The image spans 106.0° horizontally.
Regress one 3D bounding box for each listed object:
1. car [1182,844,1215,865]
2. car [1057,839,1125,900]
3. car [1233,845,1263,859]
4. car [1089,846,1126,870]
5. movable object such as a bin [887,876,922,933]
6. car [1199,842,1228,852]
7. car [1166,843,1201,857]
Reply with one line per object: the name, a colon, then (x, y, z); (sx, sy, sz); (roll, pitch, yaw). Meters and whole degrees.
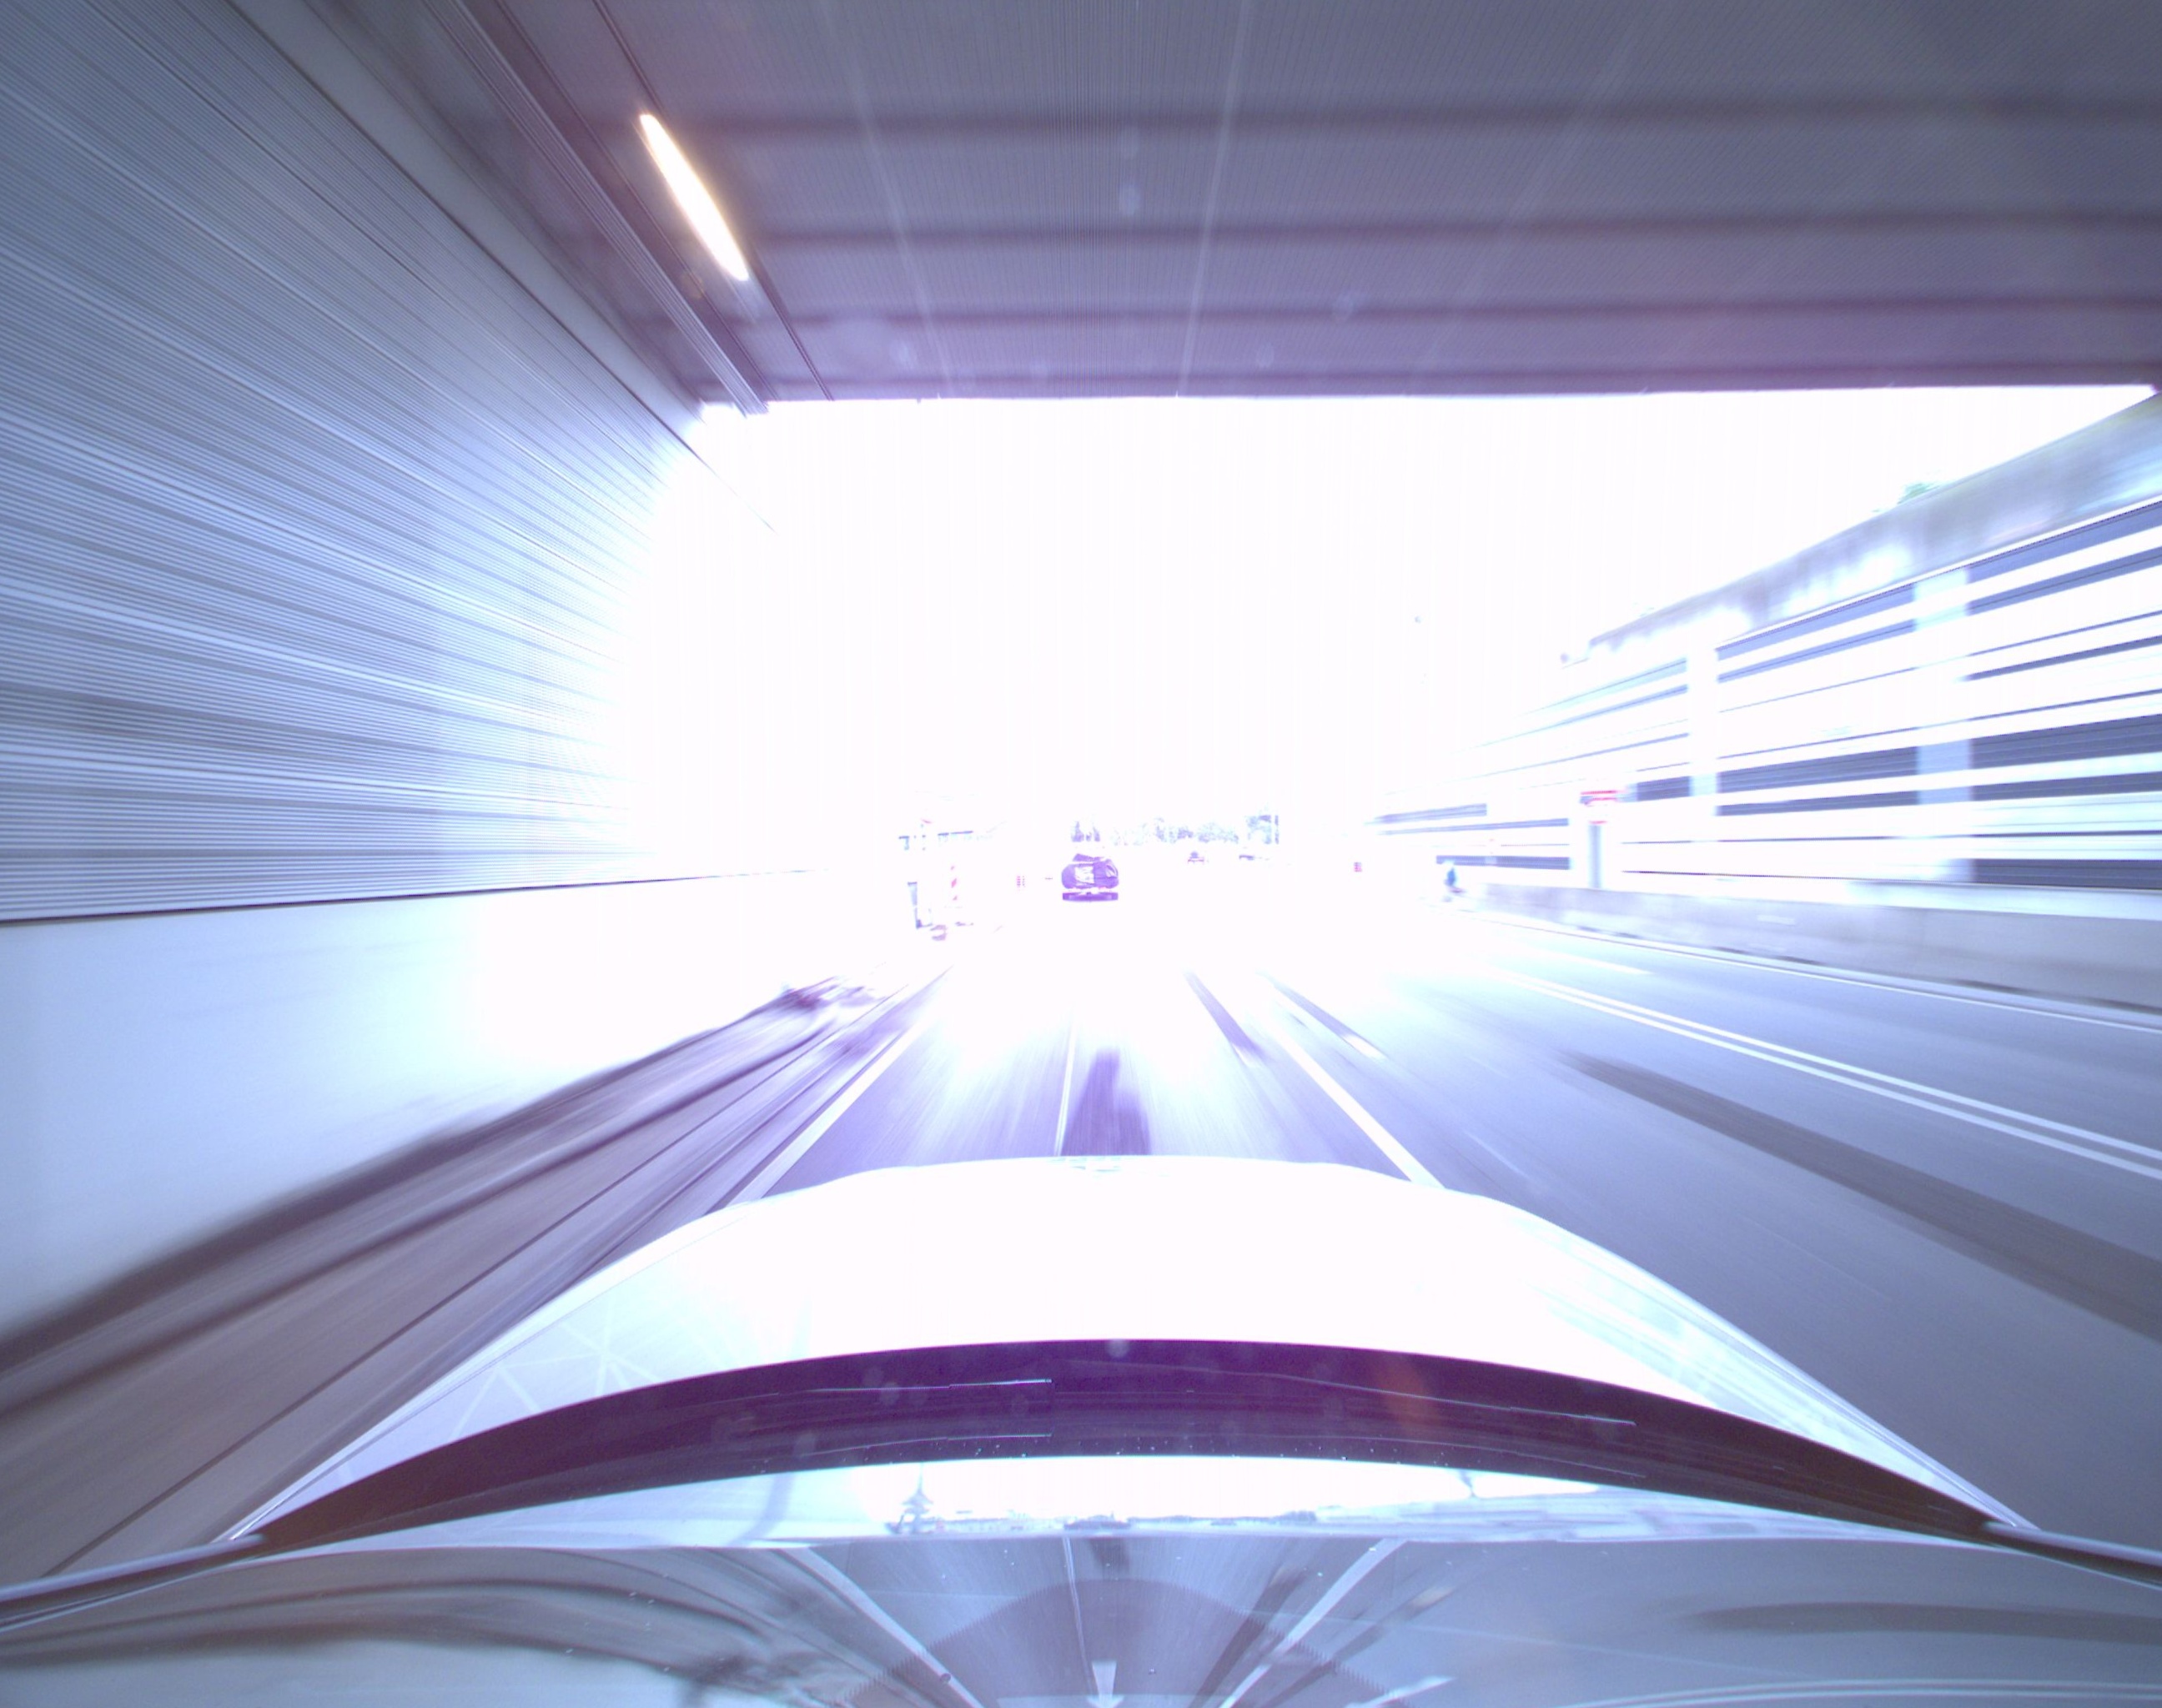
car: (10.679, 0.073, 73.798); (1.976, 1.860, 4.022); (-1, 0, 23)
car: (0.222, 0.483, 27.518); (1.988, 1.859, 5.635); (0, 0, -2)
car: (18.337, -0.204, 89.365); (1.993, 1.488, 4.091); (0, 1, 30)
car: (1.827, 0.268, 55.239); (1.908, 1.488, 4.078); (-1, 1, 11)
movable object such as a bin: (-3.264, 0.927, 15.067); (0.551, 1.008, 0.546); (0, 0, -3)
car: (19.167, -1.059, 117.744); (4.164, 1.434, 1.746); (-1, 0, -38)
car: (13.437, -0.527, 106.574); (1.931, 1.750, 5.308); (-1, 0, 39)
